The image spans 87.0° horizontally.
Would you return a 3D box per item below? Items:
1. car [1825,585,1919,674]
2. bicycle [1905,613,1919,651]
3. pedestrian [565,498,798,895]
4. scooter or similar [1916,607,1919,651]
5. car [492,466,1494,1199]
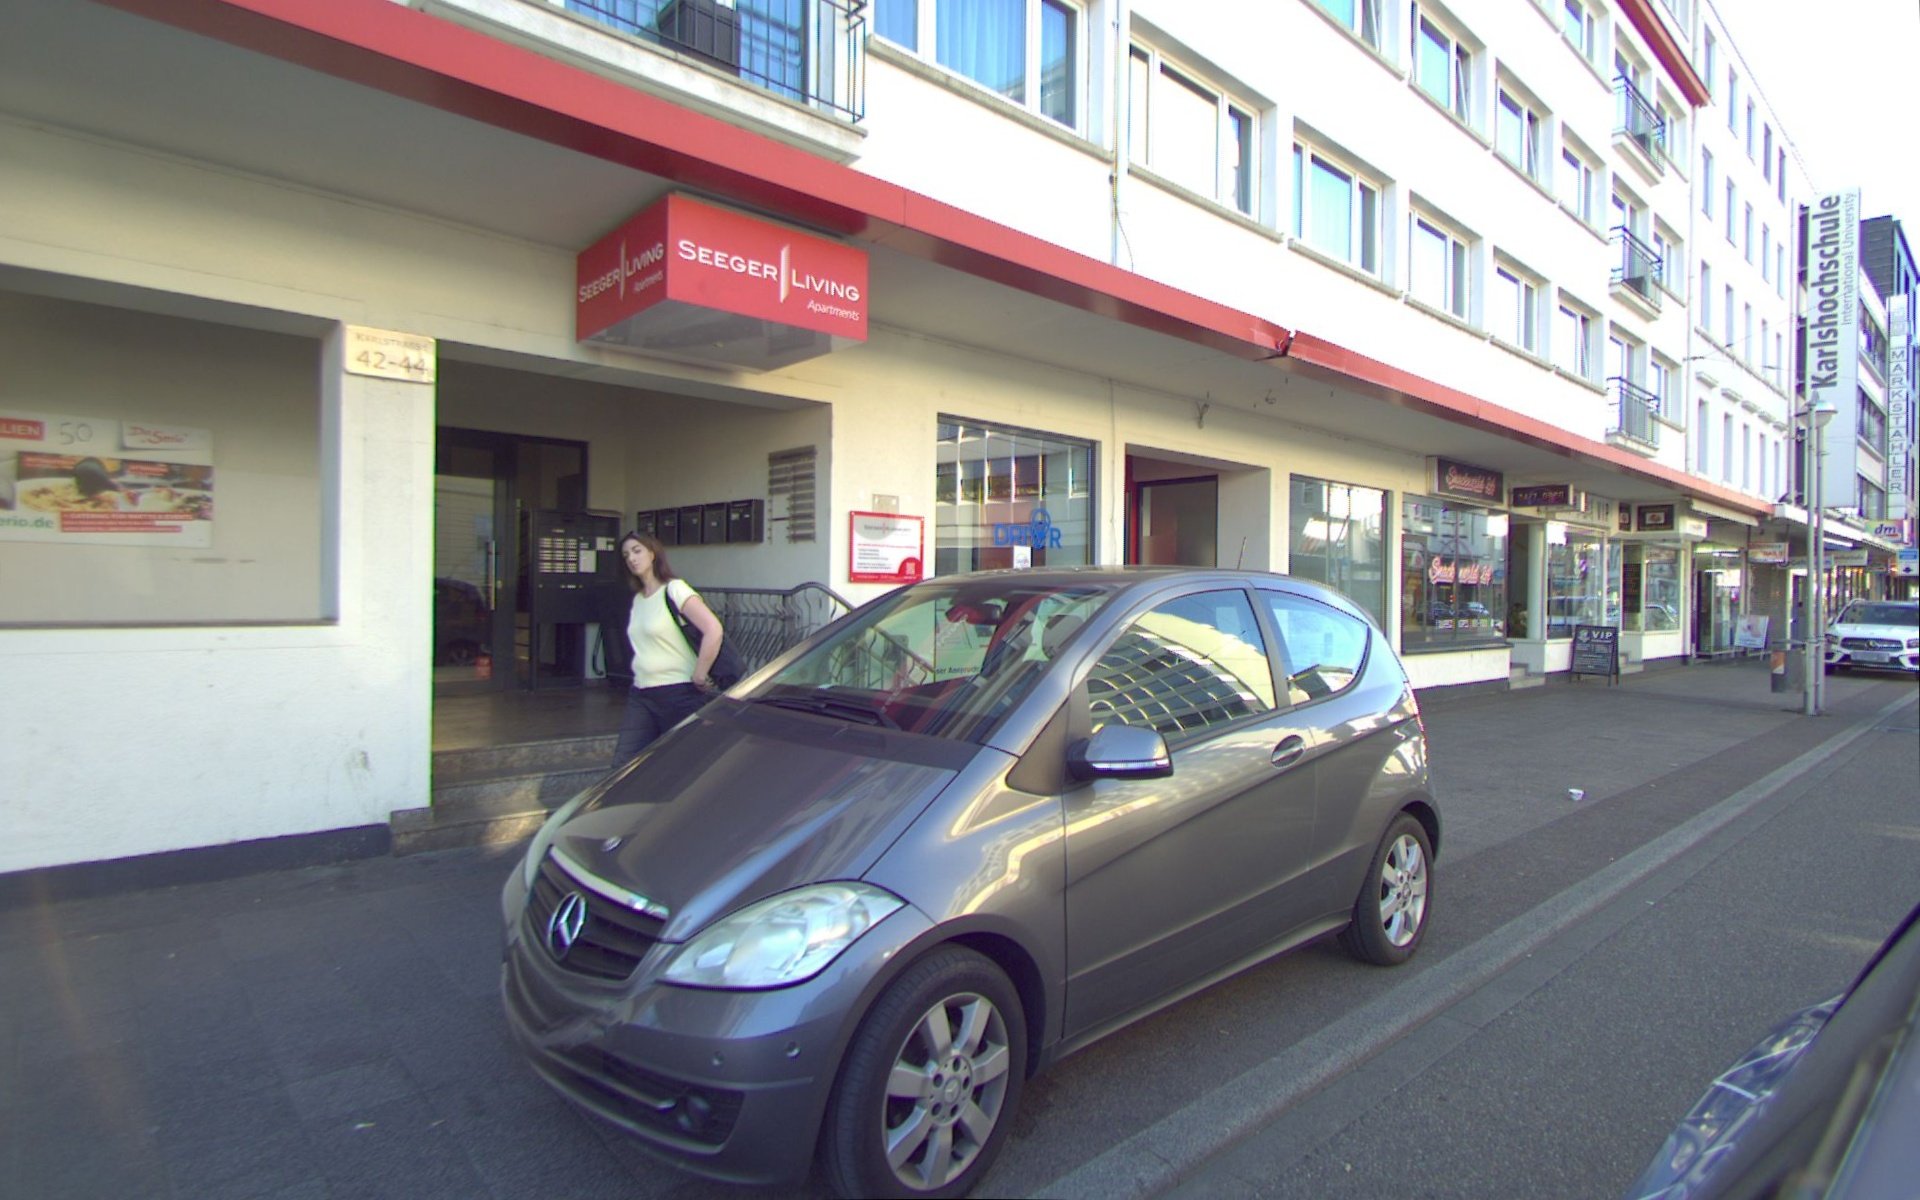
[{"bbox_3d":[20.807,0.581,22.420,5.104,1.745,1.852,0,3,-43],"label":"car"},{"bbox_3d":[27.809,0.939,28.918,0.314,1.093,1.132,0,2,-43],"label":"bicycle"},{"bbox_3d":[-1.431,0.429,5.180,0.915,1.797,0.806,0,1,-37],"label":"pedestrian"},{"bbox_3d":[28.157,0.859,29.040,0.314,1.247,0.994,0,2,-43],"label":"scooter or similar"},{"bbox_3d":[0.384,0.540,3.865,3.585,1.652,1.748,1,1,-42],"label":"car"}]
